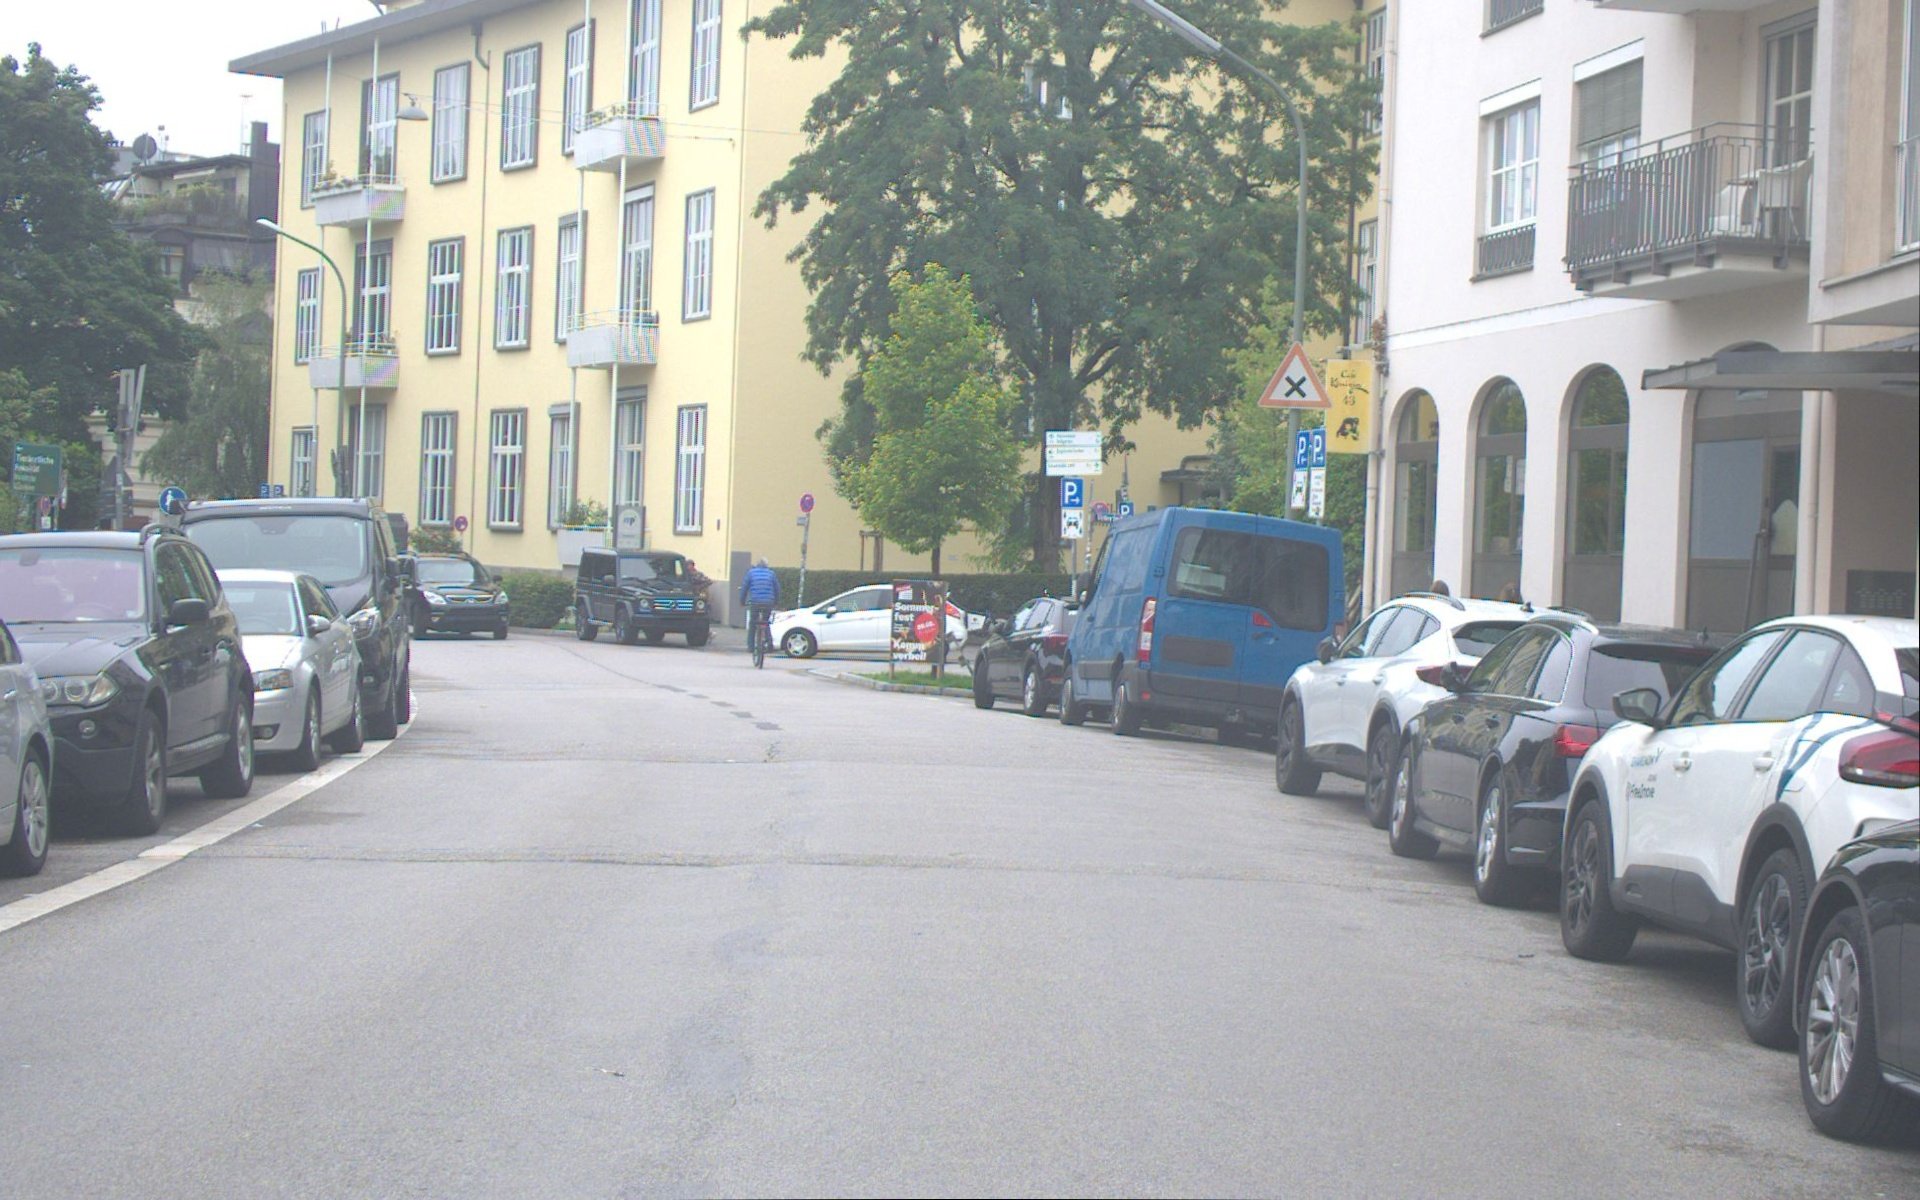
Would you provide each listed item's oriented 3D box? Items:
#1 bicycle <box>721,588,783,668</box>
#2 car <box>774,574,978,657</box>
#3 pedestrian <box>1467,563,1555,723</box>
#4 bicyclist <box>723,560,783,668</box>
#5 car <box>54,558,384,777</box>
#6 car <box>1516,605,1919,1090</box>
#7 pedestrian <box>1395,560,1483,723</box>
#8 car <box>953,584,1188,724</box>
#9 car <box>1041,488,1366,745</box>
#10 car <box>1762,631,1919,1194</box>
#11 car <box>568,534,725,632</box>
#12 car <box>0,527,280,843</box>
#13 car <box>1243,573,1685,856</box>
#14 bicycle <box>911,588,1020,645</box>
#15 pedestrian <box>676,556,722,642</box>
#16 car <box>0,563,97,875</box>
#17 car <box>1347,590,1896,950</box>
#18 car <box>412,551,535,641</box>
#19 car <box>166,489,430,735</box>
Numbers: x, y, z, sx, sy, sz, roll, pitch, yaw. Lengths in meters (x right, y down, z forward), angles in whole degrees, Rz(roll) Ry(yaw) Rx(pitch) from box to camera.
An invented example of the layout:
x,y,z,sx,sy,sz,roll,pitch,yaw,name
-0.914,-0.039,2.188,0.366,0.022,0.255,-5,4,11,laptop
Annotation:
x,y,z,sx,sy,sz,roll,pitch,yaw,name
-3.475,0.461,57.622,0.921,1.248,2.322,2,1,-2,bicycle
-1.563,0.281,65.258,3.715,1.401,1.753,2,1,3,car
5.571,0.429,34.789,0.711,1.599,0.700,1,0,-5,pedestrian
-3.461,0.223,57.600,0.914,1.758,1.215,2,1,-2,bicyclist
-5.300,0.427,25.041,1.706,1.361,4.002,-2,1,-3,car
3.480,0.866,13.089,1.702,1.463,4.121,6,0,-3,car
4.845,0.415,34.787,0.678,1.623,0.830,1,0,-5,pedestrian
1.259,0.602,40.933,1.714,1.390,4.001,5,0,-13,car
2.382,0.200,35.164,2.109,2.206,5.029,7,-2,-7,car
3.392,0.894,8.017,1.827,1.376,4.491,4,1,-1,car
-6.564,-0.373,71.612,1.873,1.881,4.620,2,1,-23,car
-5.142,0.406,19.808,1.702,1.601,4.491,-1,1,-2,car
3.341,0.705,23.664,1.775,1.517,4.305,6,1,-7,car
0.117,0.339,71.688,2.168,1.112,0.640,2,1,7,bicycle
-5.458,-0.020,71.892,0.848,1.751,0.954,1,1,-8,pedestrian
-5.150,0.569,14.722,1.804,1.373,4.491,-3,1,-1,car
3.315,0.778,18.199,1.772,1.424,4.693,7,1,-1,car
-10.125,-0.111,71.298,1.993,1.713,4.616,2,1,-14,car
-5.739,0.043,30.282,1.925,1.972,4.624,-1,1,-7,car
